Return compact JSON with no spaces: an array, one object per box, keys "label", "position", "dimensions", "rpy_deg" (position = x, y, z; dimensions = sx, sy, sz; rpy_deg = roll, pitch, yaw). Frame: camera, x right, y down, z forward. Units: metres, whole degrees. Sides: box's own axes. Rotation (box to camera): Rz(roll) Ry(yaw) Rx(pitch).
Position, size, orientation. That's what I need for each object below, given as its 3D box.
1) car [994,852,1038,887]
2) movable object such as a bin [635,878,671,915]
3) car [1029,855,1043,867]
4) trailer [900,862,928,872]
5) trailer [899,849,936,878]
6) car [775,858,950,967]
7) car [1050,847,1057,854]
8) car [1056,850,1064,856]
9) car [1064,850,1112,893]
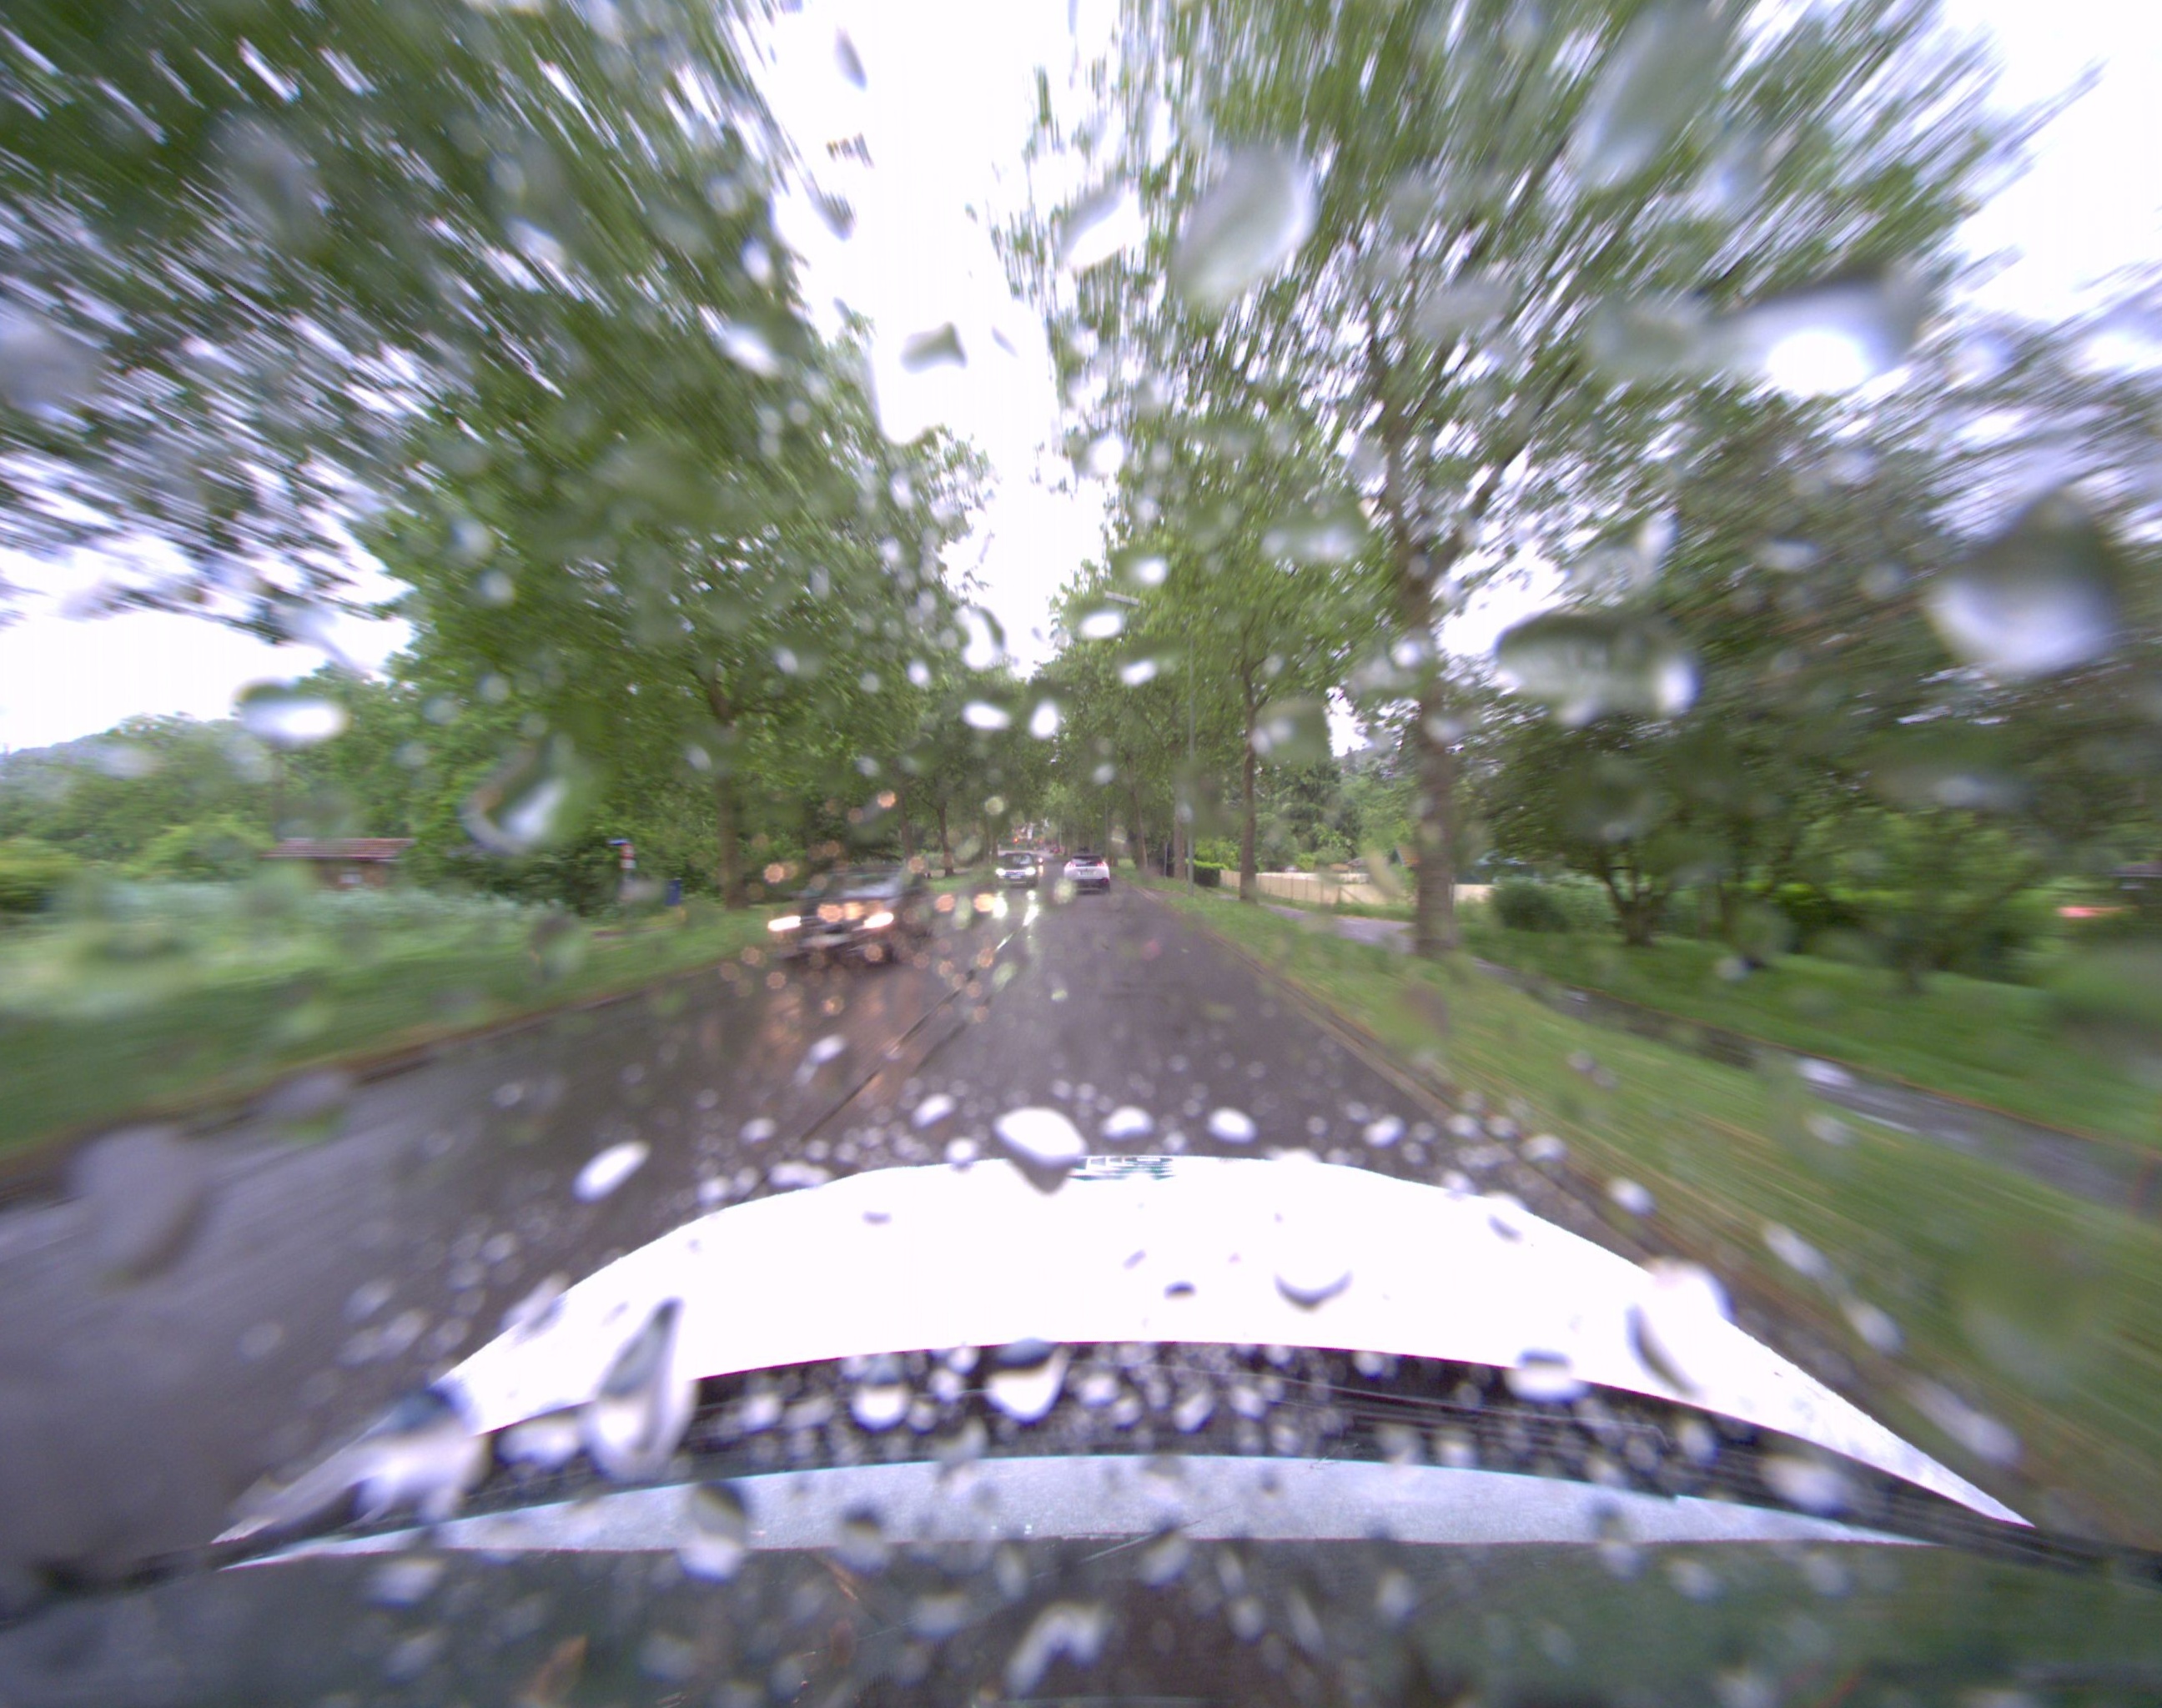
[{"label":"car","position":[-3.095,0.723,39.237],"dimensions":[1.725,1.588,4.310],"rpy_deg":[0,0,1]},{"label":"movable object such as a bin","position":[-17.448,1.721,33.203],"dimensions":[0.960,1.422,0.965],"rpy_deg":[0,0,-2]},{"label":"car","position":[-5.605,0.864,101.958],"dimensions":[1.703,1.486,3.875],"rpy_deg":[0,0,-4]},{"label":"trailer","position":[-22.620,1.733,110.277],"dimensions":[3.553,1.178,1.817],"rpy_deg":[-1,0,-10]},{"label":"trailer","position":[-14.890,0.793,74.505],"dimensions":[2.478,2.567,5.329],"rpy_deg":[0,0,-2]},{"label":"car","position":[-3.392,0.828,13.485],"dimensions":[1.726,1.423,4.224],"rpy_deg":[2,0,-1]},{"label":"car","position":[-7.074,-0.921,211.300],"dimensions":[1.821,1.596,3.653],"rpy_deg":[0,0,0]},{"label":"car","position":[-5.124,-0.244,201.716],"dimensions":[1.821,1.596,3.653],"rpy_deg":[0,0,0]},{"label":"car","position":[0.289,0.636,32.450],"dimensions":[1.788,1.578,3.845],"rpy_deg":[0,1,1]}]
